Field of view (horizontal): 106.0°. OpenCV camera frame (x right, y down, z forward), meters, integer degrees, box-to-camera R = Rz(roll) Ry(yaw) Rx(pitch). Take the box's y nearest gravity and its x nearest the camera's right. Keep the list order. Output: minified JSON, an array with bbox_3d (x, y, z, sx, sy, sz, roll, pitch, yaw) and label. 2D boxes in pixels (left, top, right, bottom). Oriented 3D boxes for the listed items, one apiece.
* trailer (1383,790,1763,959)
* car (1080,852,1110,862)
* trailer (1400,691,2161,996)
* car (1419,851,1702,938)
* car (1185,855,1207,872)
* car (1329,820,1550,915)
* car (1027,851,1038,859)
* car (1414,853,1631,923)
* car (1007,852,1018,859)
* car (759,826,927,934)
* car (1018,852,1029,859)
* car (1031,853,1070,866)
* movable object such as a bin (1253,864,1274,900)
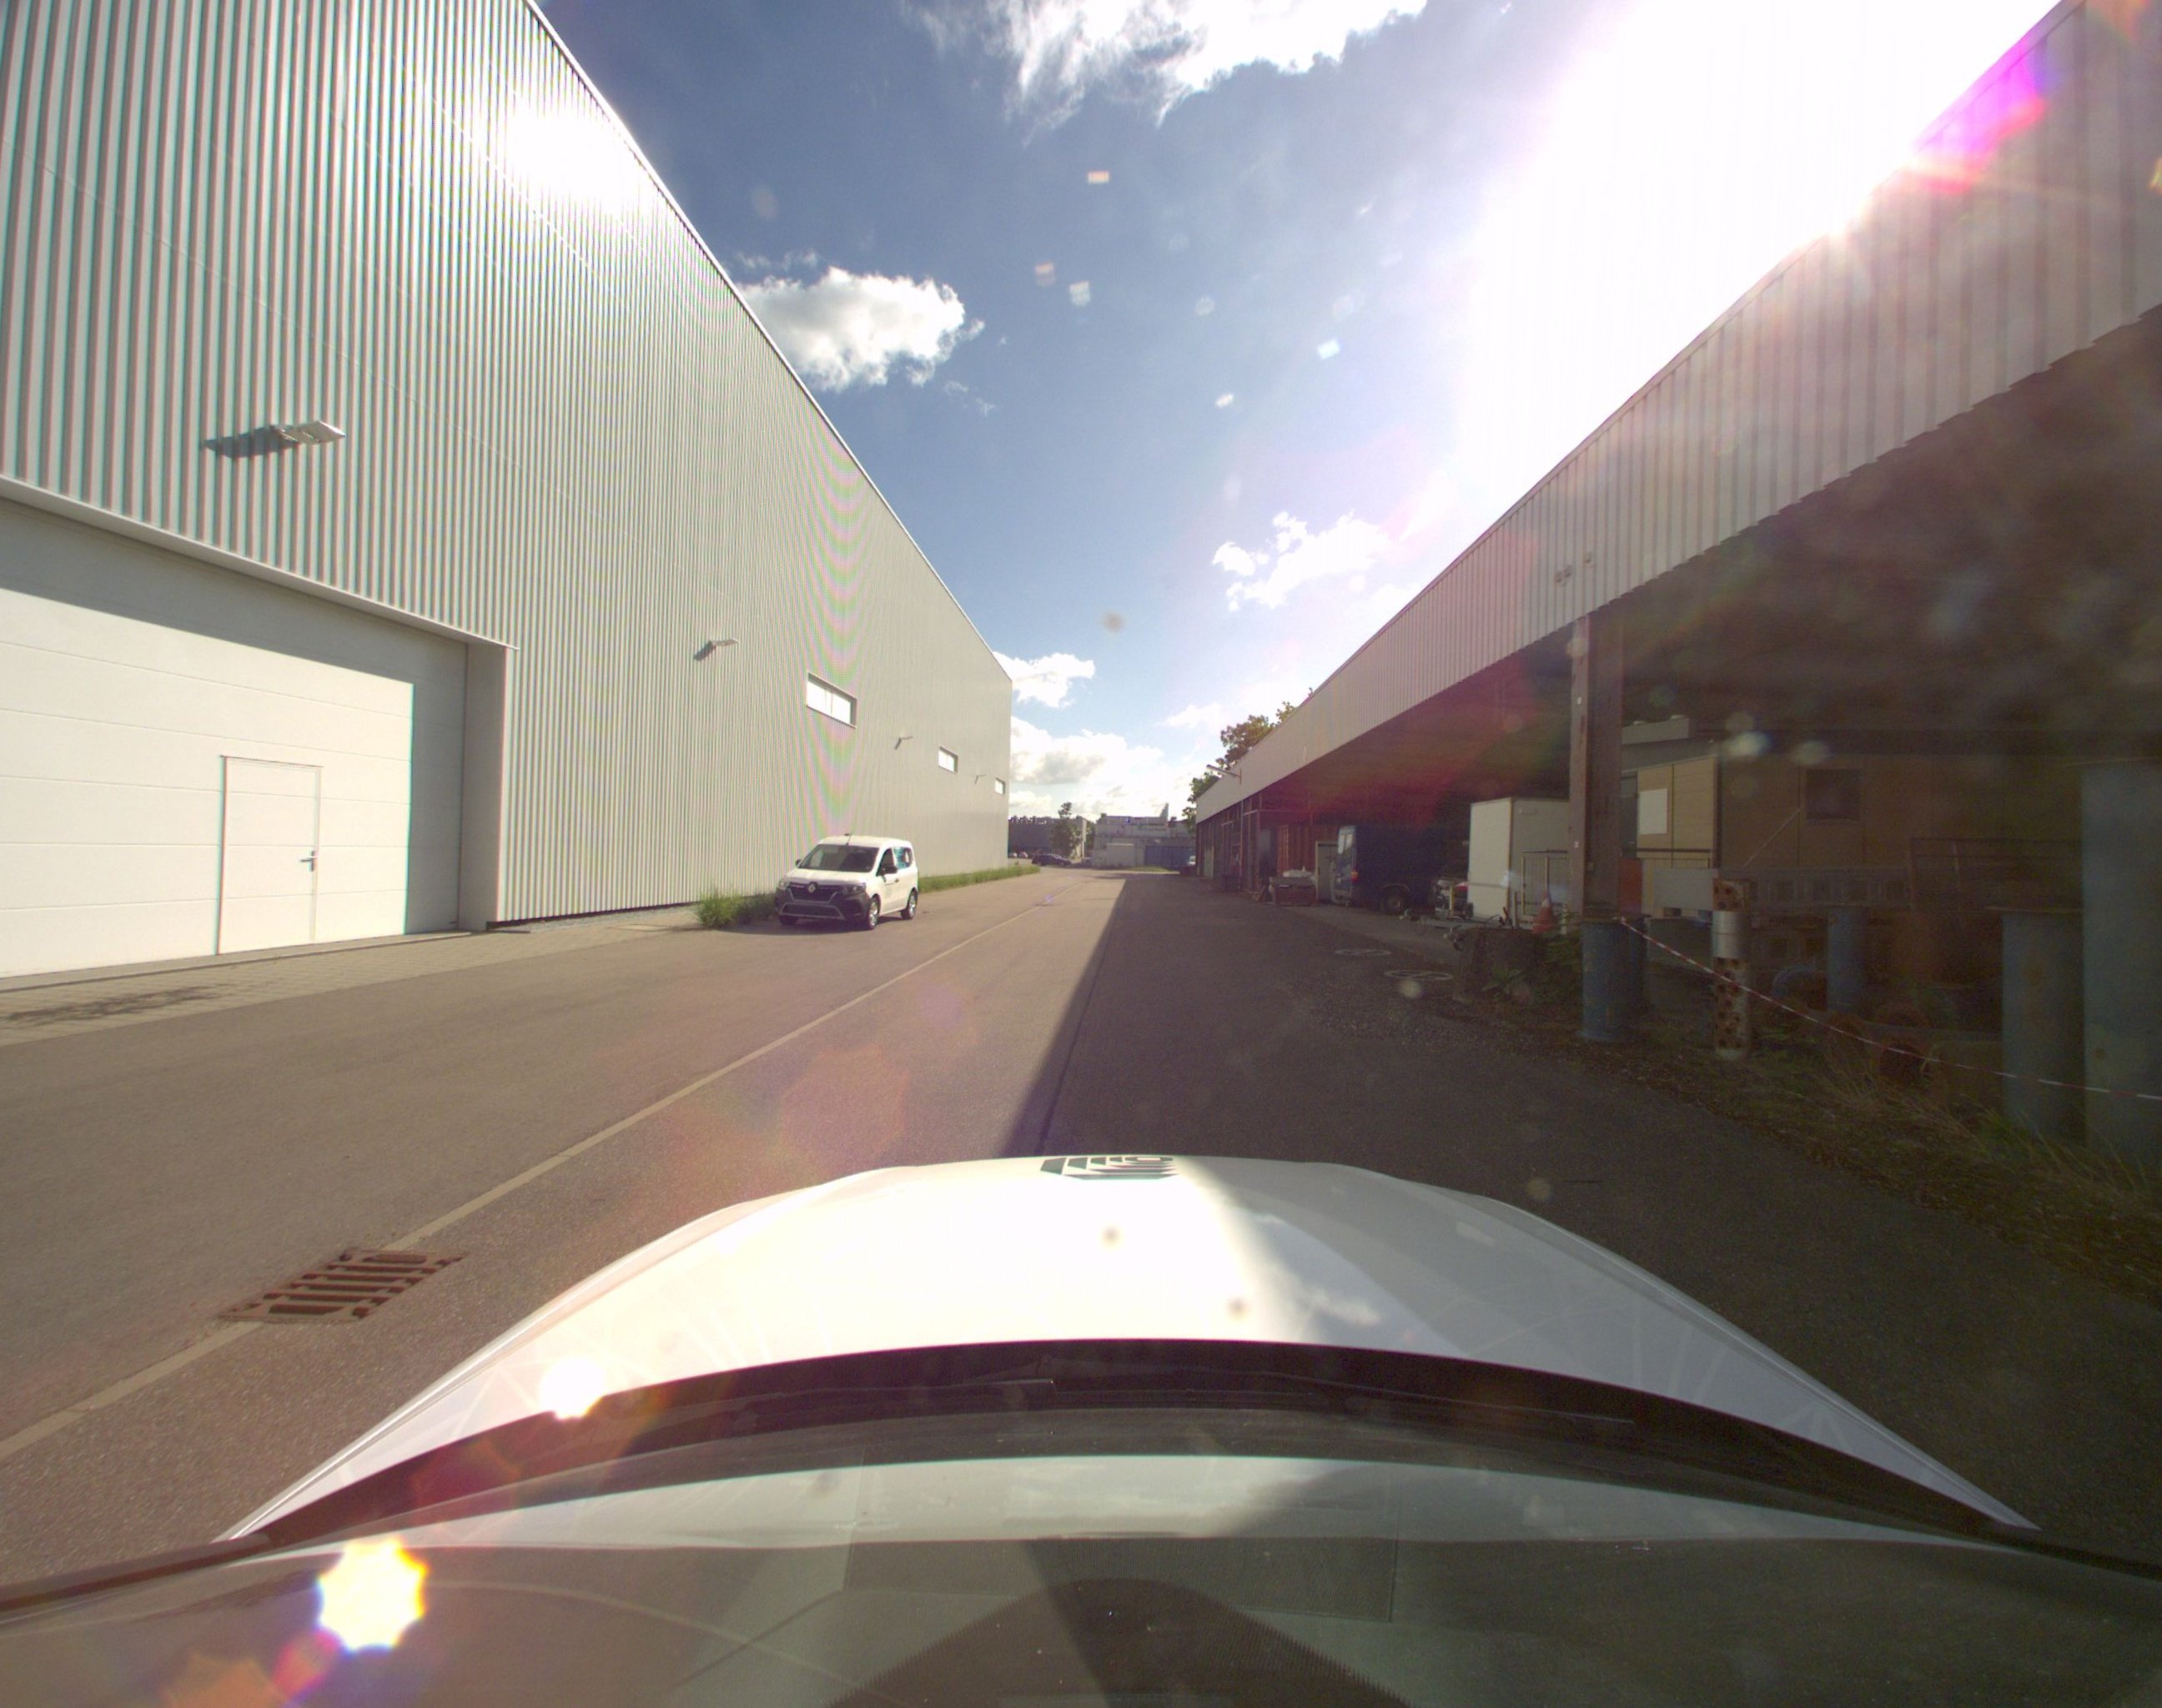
[{"bbox_3d":[7.430,0.272,12.765,4.785,2.391,1.831,0,0,8],"label":"trailer"},{"bbox_3d":[2.253,0.489,126.552,4.505,1.508,1.911,1,0,4],"label":"car"},{"bbox_3d":[9.511,-0.122,10.114,9.995,3.216,2.856,0,0,3],"label":"trailer"},{"bbox_3d":[8.876,0.720,15.338,4.313,1.496,1.777,0,0,1],"label":"car"},{"bbox_3d":[12.073,0.967,85.611,1.985,1.585,4.176,1,1,3],"label":"car"},{"bbox_3d":[9.280,0.332,21.427,4.957,2.325,2.002,1,0,3],"label":"car"},{"bbox_3d":[-11.549,0.250,195.219,2.184,1.736,4.003,-1,-1,3],"label":"car"},{"bbox_3d":[9.886,0.740,18.423,3.975,1.472,1.787,0,0,-1],"label":"car"},{"bbox_3d":[-16.575,0.370,196.841,1.985,1.736,4.003,-1,-1,3],"label":"car"},{"bbox_3d":[-4.720,0.475,16.887,1.882,1.845,4.362,3,0,3],"label":"car"},{"bbox_3d":[-13.981,0.318,197.056,2.184,1.736,4.003,-1,-1,3],"label":"car"},{"bbox_3d":[-3.658,0.622,99.191,4.504,1.508,1.911,0,0,5],"label":"car"},{"bbox_3d":[6.091,0.916,27.275,0.578,1.164,1.241,0,0,8],"label":"movable object such as a bin"}]
